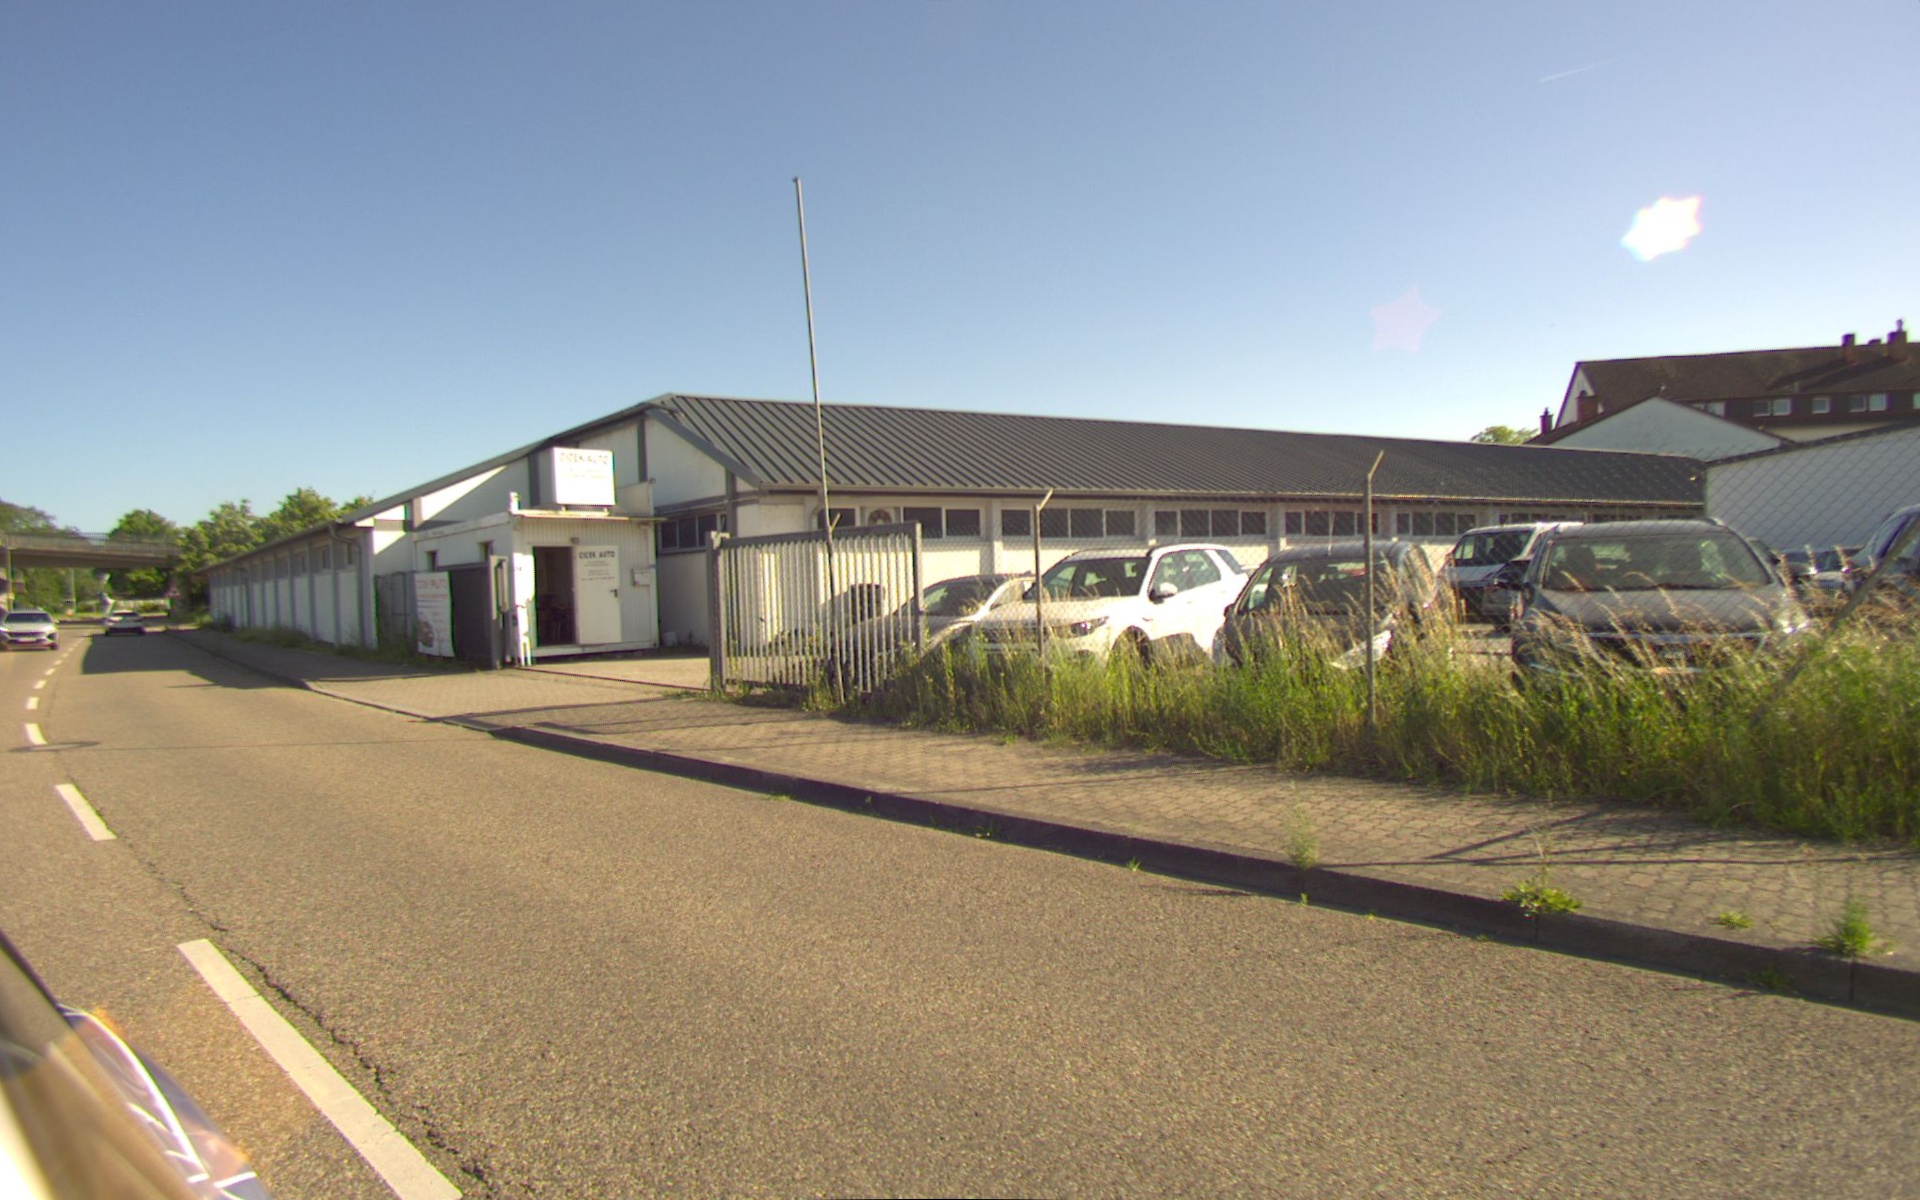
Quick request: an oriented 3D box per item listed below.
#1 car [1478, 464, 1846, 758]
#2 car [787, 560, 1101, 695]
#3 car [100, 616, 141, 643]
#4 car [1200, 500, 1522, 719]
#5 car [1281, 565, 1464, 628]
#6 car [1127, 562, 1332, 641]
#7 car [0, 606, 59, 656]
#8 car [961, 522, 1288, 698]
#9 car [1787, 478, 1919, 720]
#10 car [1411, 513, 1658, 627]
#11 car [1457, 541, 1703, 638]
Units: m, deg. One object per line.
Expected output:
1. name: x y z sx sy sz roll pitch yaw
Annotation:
1. car: 5.469 0.011 8.046 1.836 1.661 4.353 -1 1 35
2. car: -0.048 0.255 13.641 1.839 1.518 4.346 -1 1 39
3. car: -49.868 1.711 60.065 1.786 1.489 4.694 0 0 -41
4. car: 4.144 0.020 9.978 1.837 1.661 4.349 -1 1 37
5. car: 10.396 -0.107 25.473 4.328 1.385 1.846 -2 1 -27
6. car: 6.116 -0.010 22.892 4.328 1.574 1.846 -2 1 -27
7. car: -36.355 1.161 39.361 1.855 1.838 4.300 -1 0 -43
8. car: 2.106 0.038 11.866 1.839 1.661 4.346 -1 1 39
9. car: 7.324 -0.016 6.296 1.825 1.661 4.379 -1 1 18
10. car: 13.371 -0.745 23.481 5.664 2.288 2.117 -4 2 -26
11. car: 11.403 -0.233 18.580 4.328 1.574 1.846 -2 1 -27
